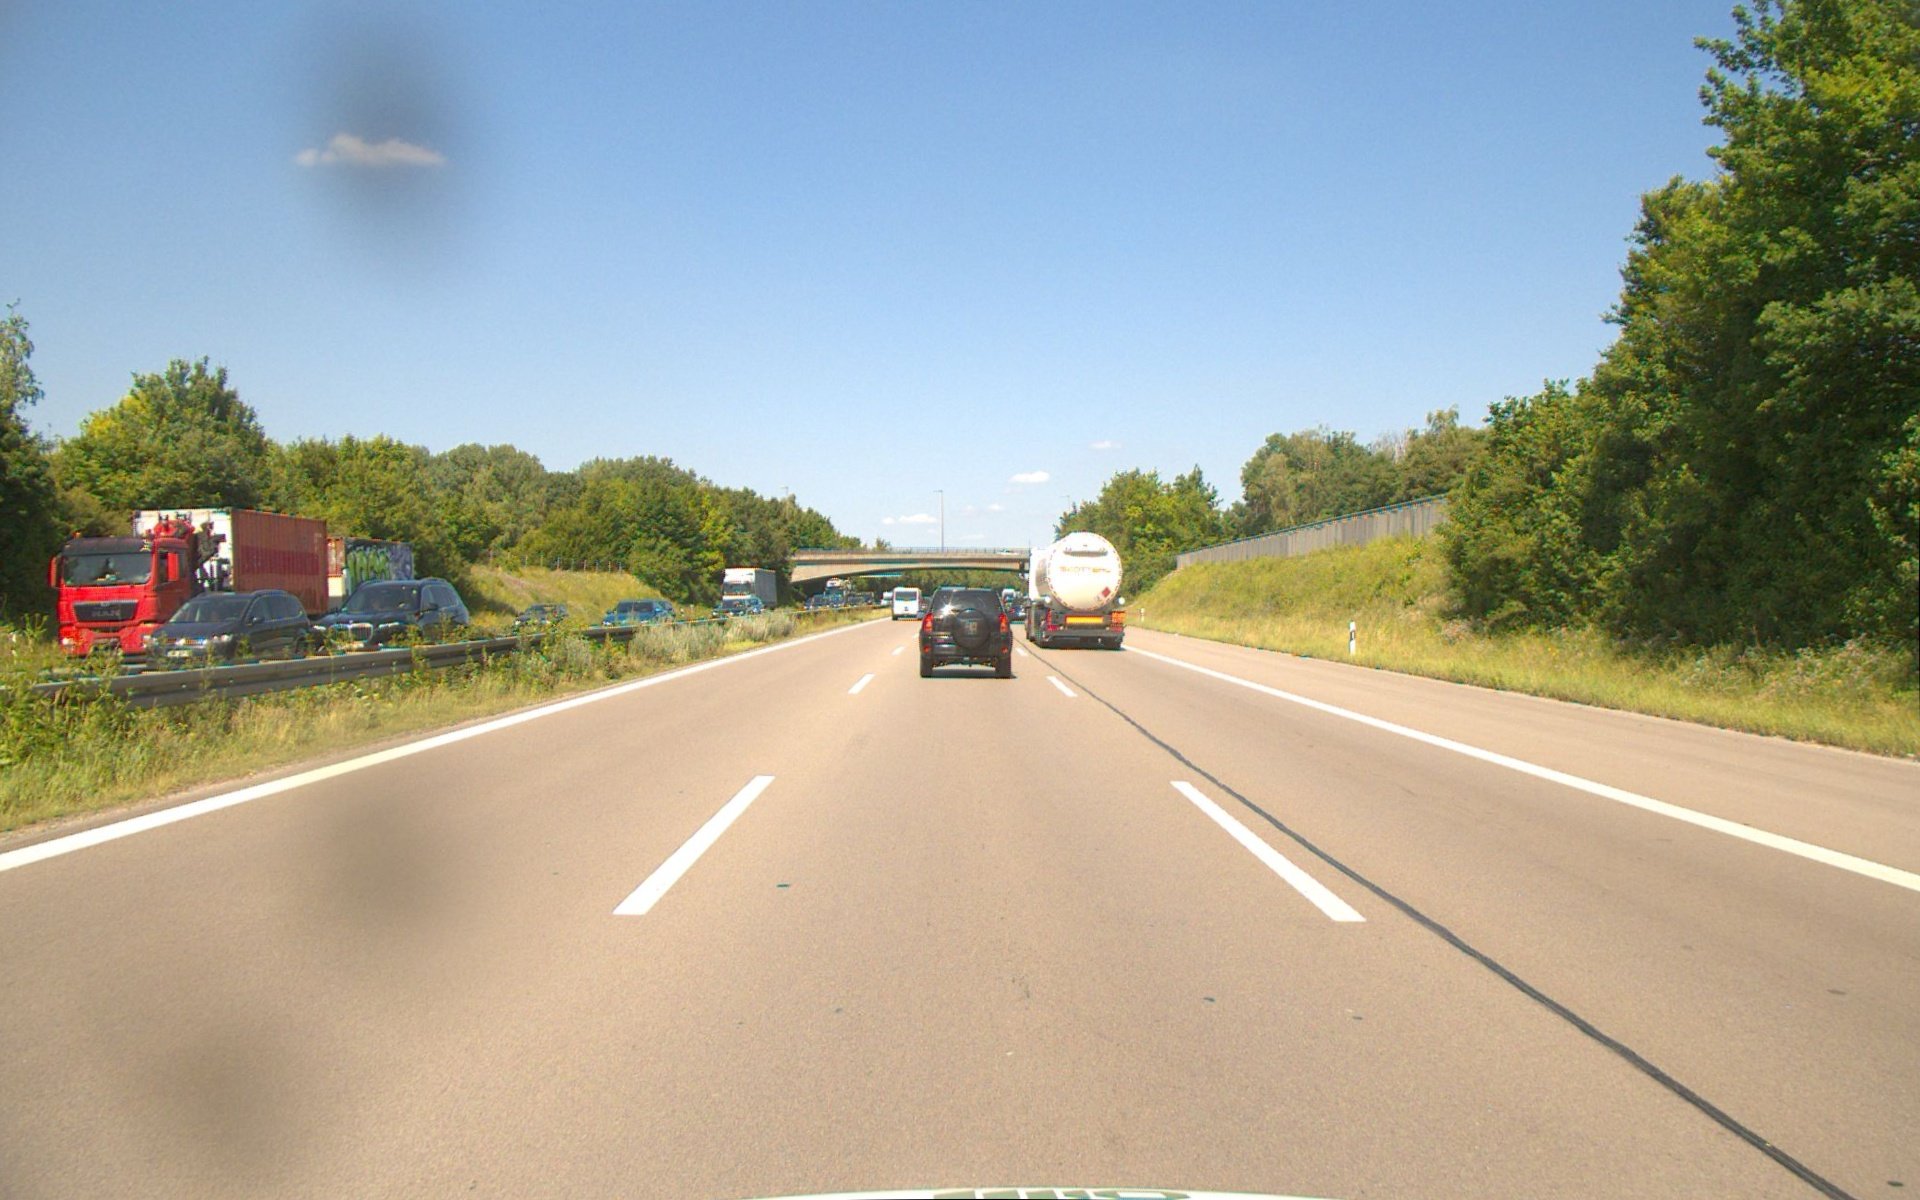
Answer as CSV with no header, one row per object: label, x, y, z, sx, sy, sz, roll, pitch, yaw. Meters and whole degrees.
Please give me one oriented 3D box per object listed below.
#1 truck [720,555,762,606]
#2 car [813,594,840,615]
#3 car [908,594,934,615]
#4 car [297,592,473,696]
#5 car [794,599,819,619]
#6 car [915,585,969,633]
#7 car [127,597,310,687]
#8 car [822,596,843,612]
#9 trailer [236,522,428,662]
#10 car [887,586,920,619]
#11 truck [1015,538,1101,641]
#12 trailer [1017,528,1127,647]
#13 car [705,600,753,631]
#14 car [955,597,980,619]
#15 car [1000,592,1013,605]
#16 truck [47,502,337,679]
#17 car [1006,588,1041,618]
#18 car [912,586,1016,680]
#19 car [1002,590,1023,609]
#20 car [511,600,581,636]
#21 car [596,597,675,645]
truck,-18.551,-1.622,140.144,2.618,4.149,6.075,-2,0,0
car,-10.722,0.363,132.606,1.820,1.628,4.720,-1,0,-1
car,-2.997,0.354,127.729,1.953,1.579,3.999,0,-1,0
car,-11.397,0.813,33.170,1.953,1.898,4.896,-1,0,-2
car,-14.749,0.846,159.277,1.952,1.811,4.261,-1,0,1
car,-0.705,0.331,63.304,1.953,1.736,4.335,-1,0,-1
car,-15.234,0.802,34.246,1.953,1.719,4.263,-1,0,-2
car,-14.200,0.455,183.958,1.924,1.669,4.895,-1,0,0
trailer,-18.887,-0.232,50.387,2.624,3.835,8.405,-2,0,0
car,-3.567,0.157,105.643,1.953,2.049,4.949,-1,0,-1
truck,3.410,-0.363,58.995,2.584,3.434,6.486,1,0,-1
trailer,3.464,-0.363,53.827,2.594,3.449,11.149,1,0,-1
car,-12.115,0.813,86.976,1.857,1.452,4.763,-3,0,-1
car,0.583,0.622,125.575,1.804,1.640,4.001,0,-1,2
car,6.446,-0.181,229.578,1.775,1.777,4.000,-1,0,0
truck,-18.806,-0.231,41.441,2.624,3.835,9.918,-2,0,0
car,3.773,0.196,98.620,1.952,1.713,4.000,0,-1,1
car,0.076,0.598,31.936,1.867,1.694,4.000,0,0,0
car,5.122,-0.062,161.913,1.952,1.811,4.262,-1,0,2
car,-18.352,0.771,73.584,1.857,1.463,4.923,-3,0,-1
car,-11.307,0.703,57.892,1.795,1.593,4.956,-1,0,0
